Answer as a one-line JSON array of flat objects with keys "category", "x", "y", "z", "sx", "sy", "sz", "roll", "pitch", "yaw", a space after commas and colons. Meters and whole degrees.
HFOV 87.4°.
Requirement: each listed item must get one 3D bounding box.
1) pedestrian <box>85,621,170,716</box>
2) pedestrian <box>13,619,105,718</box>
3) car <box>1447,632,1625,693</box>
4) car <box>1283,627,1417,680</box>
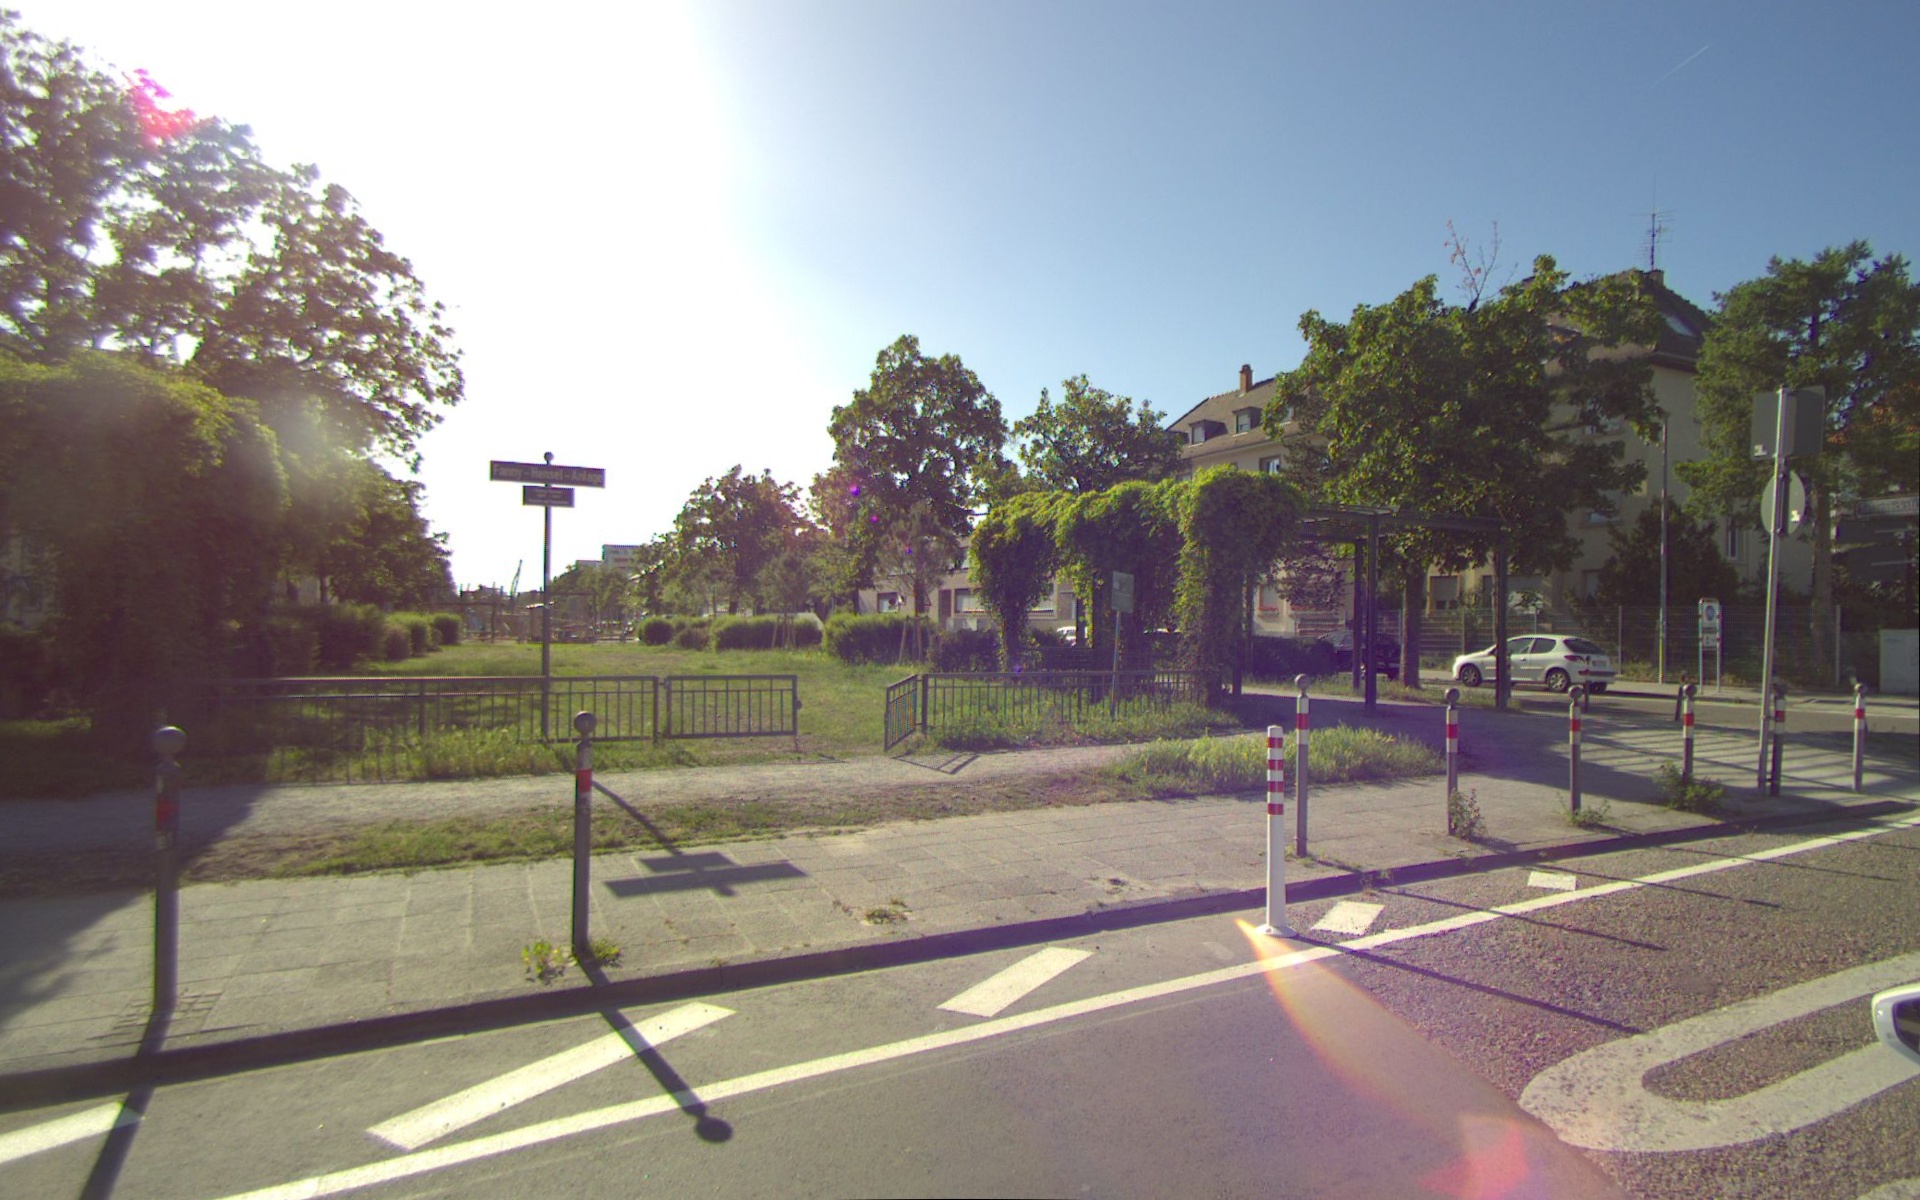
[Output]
[{"category": "pedestrian", "x": -10.487, "y": 0.839, "z": 12.679, "sx": 0.591, "sy": 1.154, "sz": 0.870, "roll": 1, "pitch": -1, "yaw": -25}, {"category": "pedestrian", "x": -11.096, "y": 0.827, "z": 12.397, "sx": 0.591, "sy": 1.165, "sz": 0.841, "roll": 1, "pitch": -1, "yaw": -25}, {"category": "car", "x": 14.896, "y": 1.594, "z": 26.179, "sx": 1.685, "sy": 1.416, "sz": 3.752, "roll": 2, "pitch": -2, "yaw": -26}, {"category": "car", "x": 12.119, "y": 1.633, "z": 31.460, "sx": 1.655, "sy": 1.514, "sz": 3.802, "roll": 2, "pitch": -2, "yaw": -26}]
